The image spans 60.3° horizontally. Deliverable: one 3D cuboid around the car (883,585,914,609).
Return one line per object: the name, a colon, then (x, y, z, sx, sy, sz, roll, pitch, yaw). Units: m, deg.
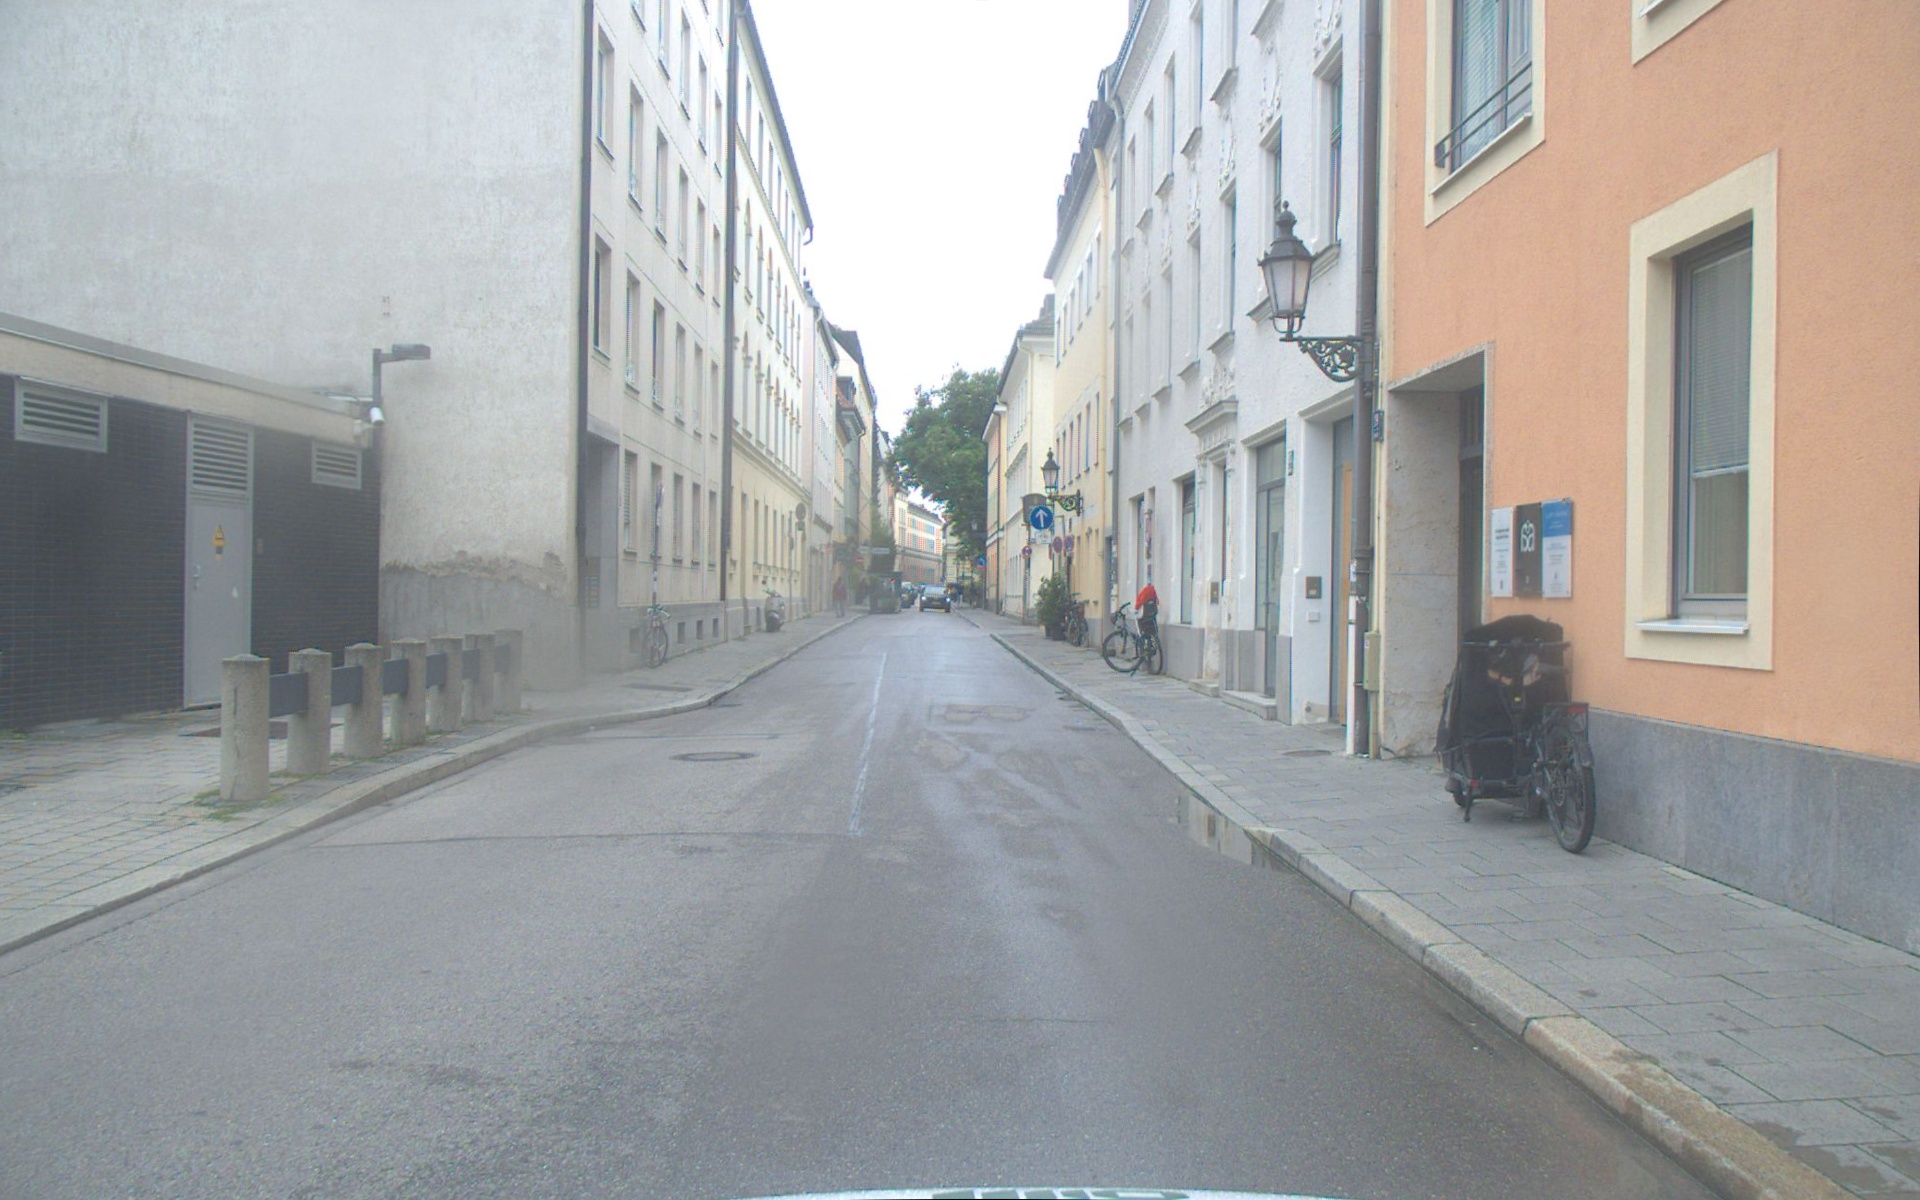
car: (-4.034, -0.196, 108.916, 1.742, 1.492, 3.663, 1, 0, 1)

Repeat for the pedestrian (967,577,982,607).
pedestrian: (0.919, -0.499, 104.402, 0.862, 1.833, 1.046, 1, 0, -1)

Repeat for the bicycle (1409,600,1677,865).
bicycle: (3.296, 0.677, 9.629, 0.665, 1.261, 2.382, -4, 1, 1)

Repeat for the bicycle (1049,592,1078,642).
bicycle: (2.490, 0.398, 39.862, 0.554, 1.156, 1.684, -2, 1, 0)

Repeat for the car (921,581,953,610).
car: (-1.359, -0.299, 95.876, 1.776, 1.621, 3.998, 0, 1, -2)

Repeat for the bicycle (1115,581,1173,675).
bicycle: (2.935, 0.425, 26.565, 0.698, 1.420, 2.122, -2, 1, 1)

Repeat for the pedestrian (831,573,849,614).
pedestrian: (-5.068, -0.267, 69.952, 0.750, 1.738, 0.785, 0, 0, -4)

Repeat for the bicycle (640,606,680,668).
bicycle: (-4.948, 0.597, 27.297, 0.313, 0.960, 1.574, 3, 1, 0)

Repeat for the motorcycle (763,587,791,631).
motorcycle: (-5.039, 0.236, 45.521, 0.590, 1.194, 1.708, 1, 0, -1)

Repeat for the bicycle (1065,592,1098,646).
bicycle: (2.758, 0.419, 37.648, 0.554, 1.156, 1.987, -2, 1, 0)
